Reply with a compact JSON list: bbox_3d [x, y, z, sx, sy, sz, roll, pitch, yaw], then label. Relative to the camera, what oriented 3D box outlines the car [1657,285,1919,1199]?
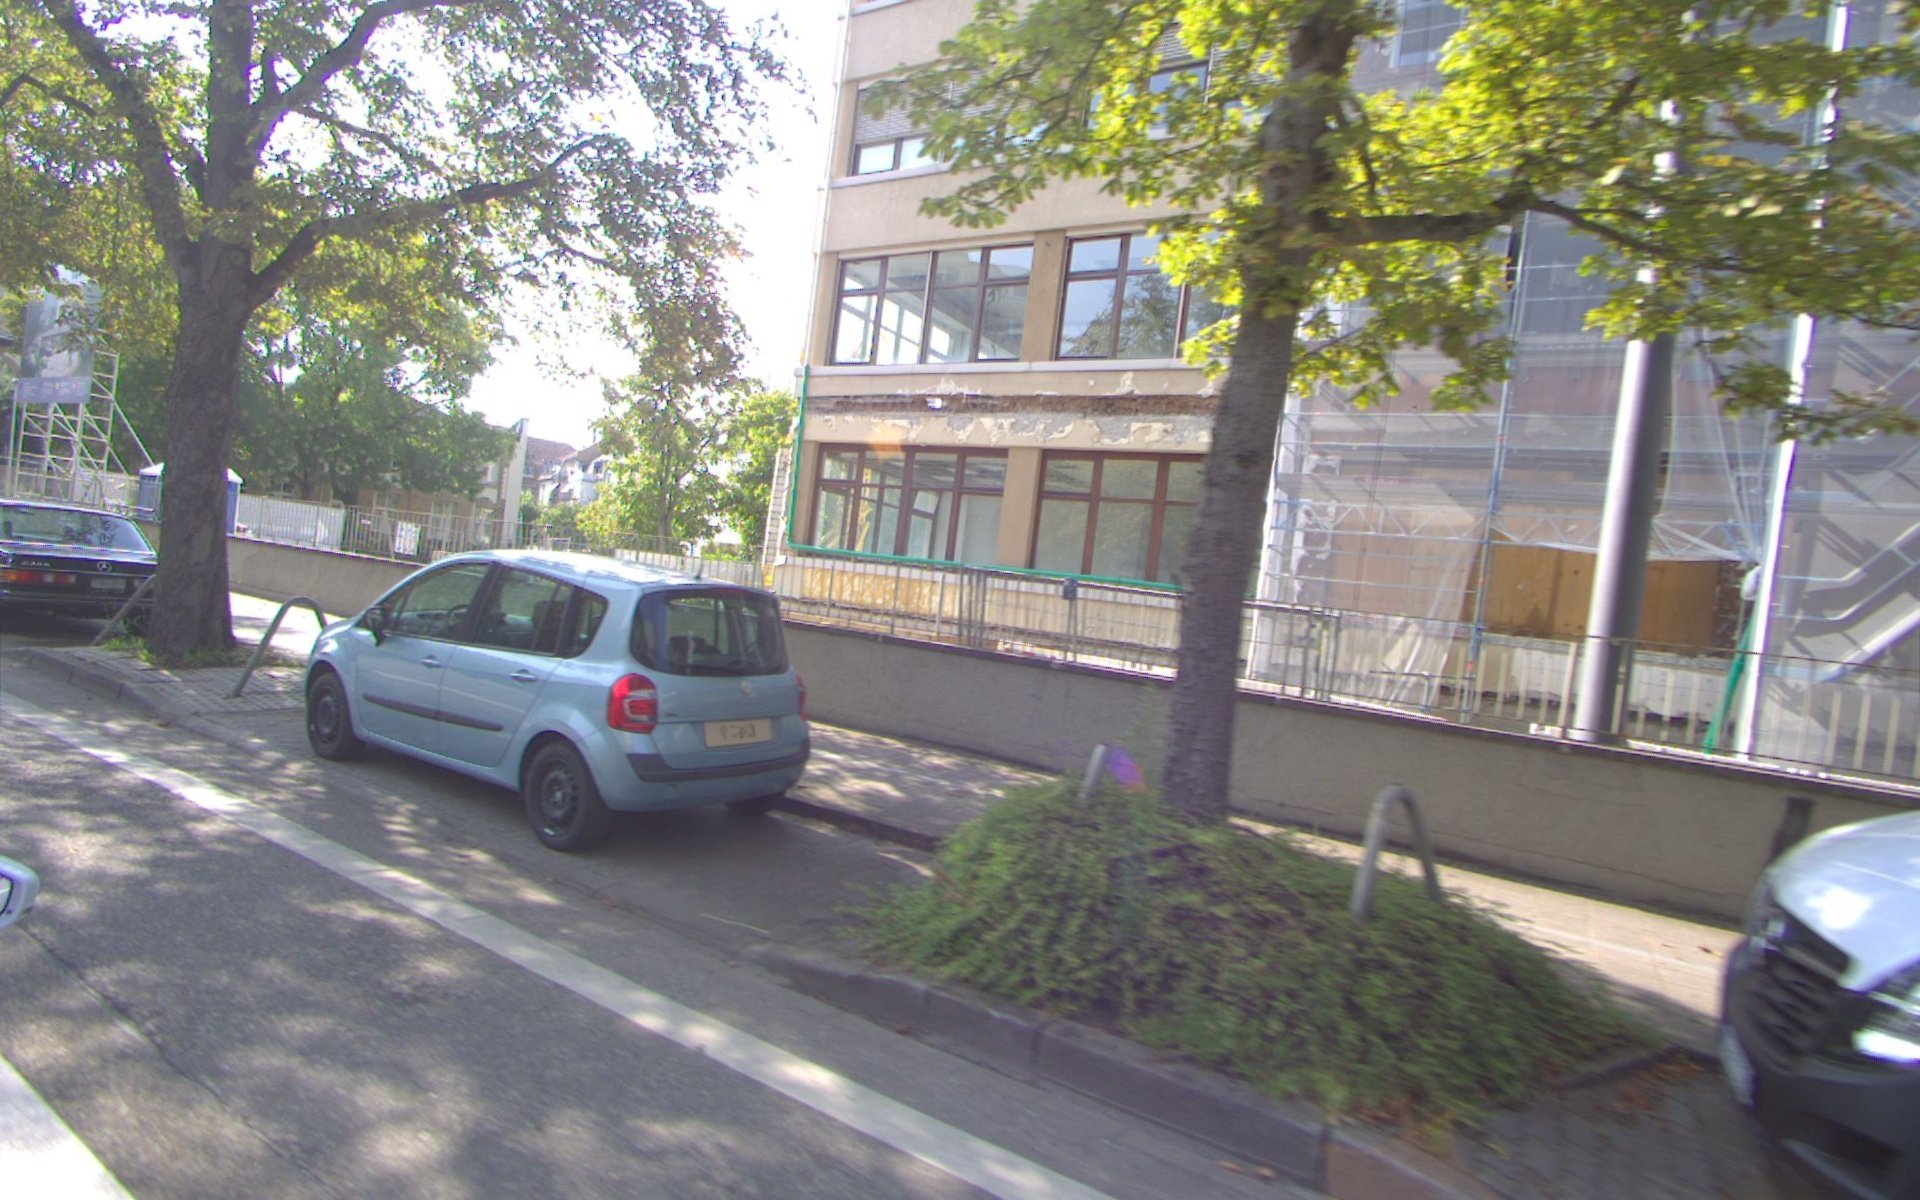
[{"bbox_3d":[4.798,0.883,1.820,5.409,2.588,2.082,7,4,31],"label":"car"}]

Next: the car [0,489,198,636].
[{"bbox_3d":[-11.032,-0.562,11.821,4.641,1.395,1.754,7,2,32],"label":"car"}]

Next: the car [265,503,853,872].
[{"bbox_3d":[-2.806,0.391,6.780,3.813,1.637,1.665,8,2,33],"label":"car"}]
